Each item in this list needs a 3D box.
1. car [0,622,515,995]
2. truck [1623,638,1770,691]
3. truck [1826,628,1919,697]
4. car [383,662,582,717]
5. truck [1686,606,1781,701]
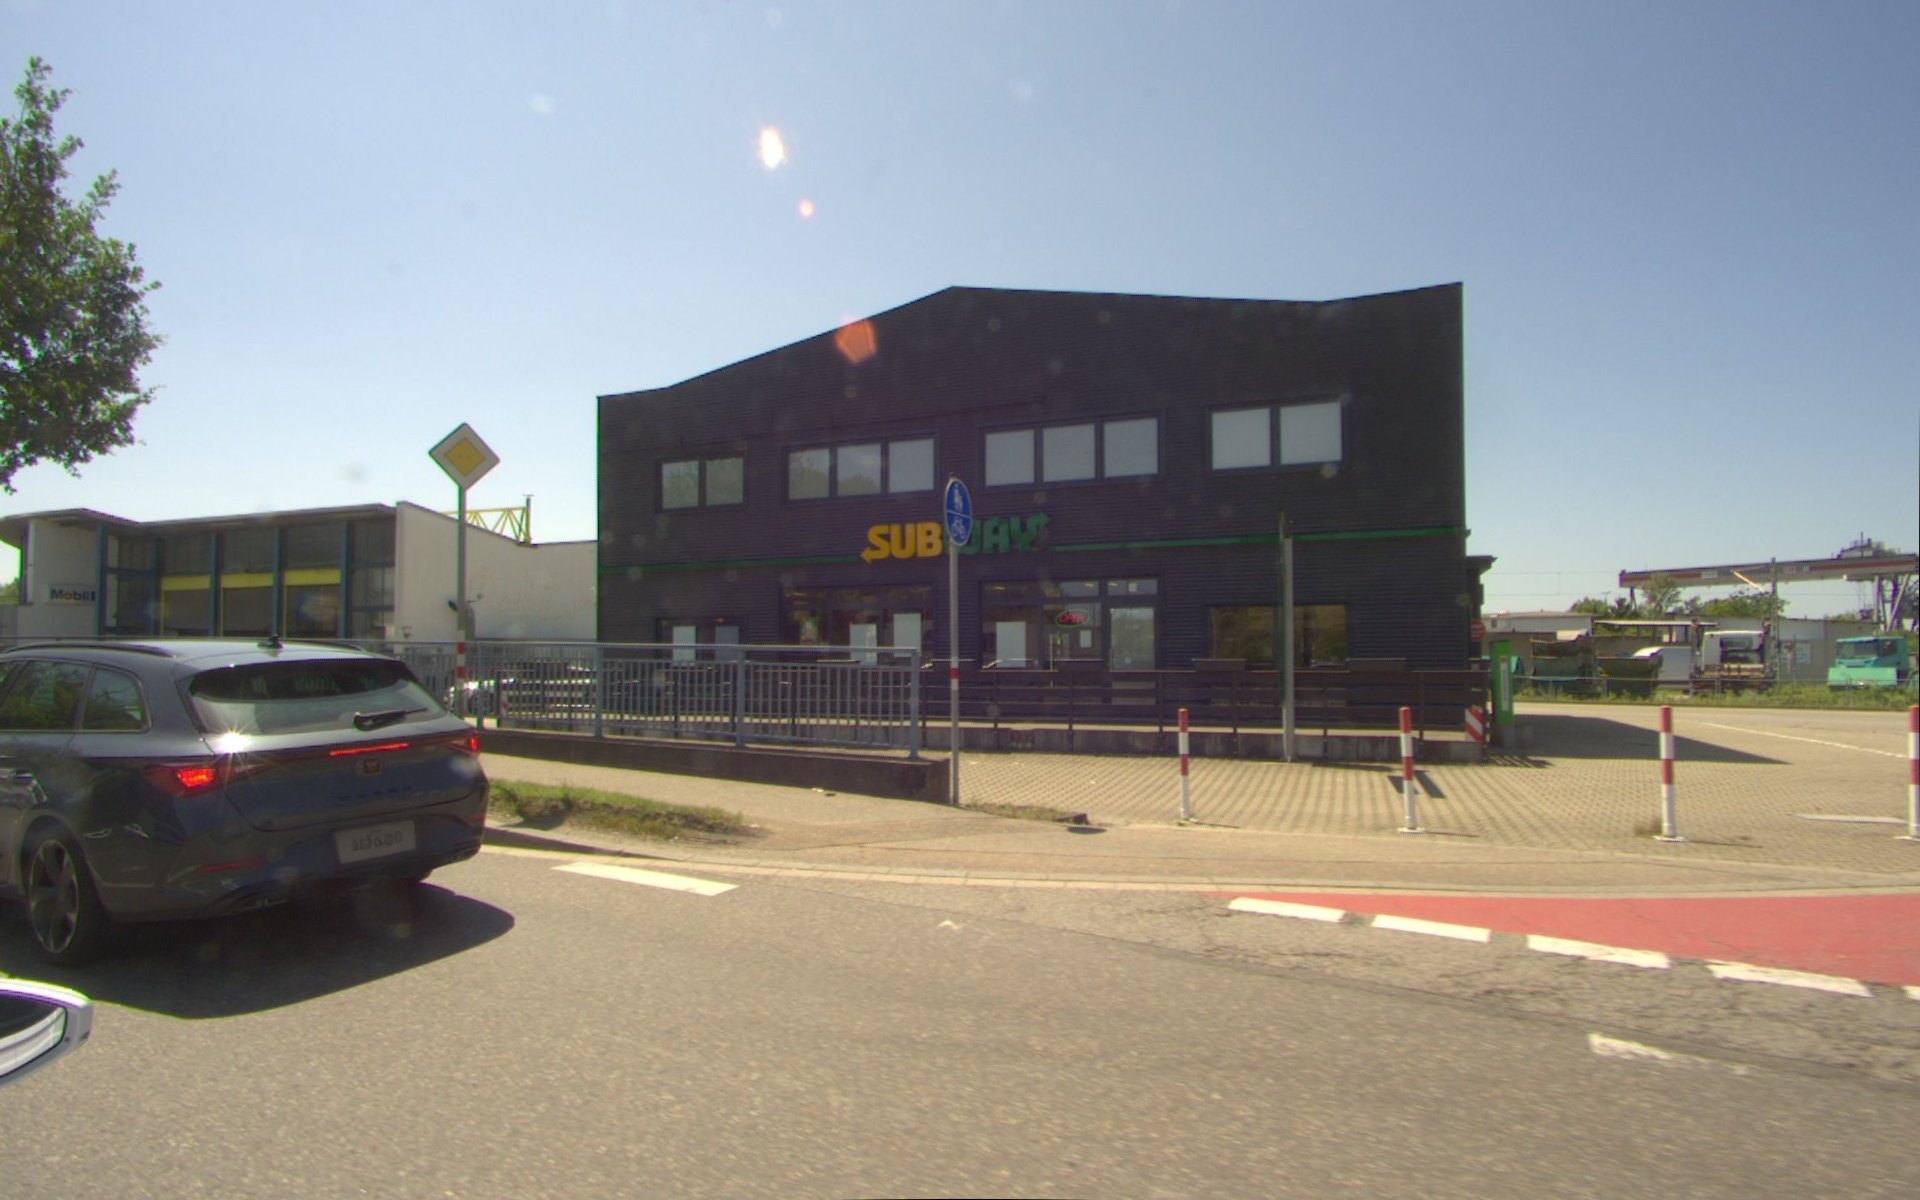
[{"bbox_3d":[-4.621,0.894,5.632,4.168,1.474,1.605,-1,-2,27],"label":"car"},{"bbox_3d":[40.276,3.528,54.934,5.991,2.825,2.653,0,-2,3],"label":"truck"},{"bbox_3d":[49.519,3.183,51.593,7.410,3.411,2.805,0,-2,-1],"label":"truck"},{"bbox_3d":[-13.662,2.524,28.799,5.009,1.375,1.991,1,-2,-29],"label":"car"},{"bbox_3d":[30.936,2.106,39.941,2.690,3.423,7.348,-1,-3,40],"label":"truck"}]
